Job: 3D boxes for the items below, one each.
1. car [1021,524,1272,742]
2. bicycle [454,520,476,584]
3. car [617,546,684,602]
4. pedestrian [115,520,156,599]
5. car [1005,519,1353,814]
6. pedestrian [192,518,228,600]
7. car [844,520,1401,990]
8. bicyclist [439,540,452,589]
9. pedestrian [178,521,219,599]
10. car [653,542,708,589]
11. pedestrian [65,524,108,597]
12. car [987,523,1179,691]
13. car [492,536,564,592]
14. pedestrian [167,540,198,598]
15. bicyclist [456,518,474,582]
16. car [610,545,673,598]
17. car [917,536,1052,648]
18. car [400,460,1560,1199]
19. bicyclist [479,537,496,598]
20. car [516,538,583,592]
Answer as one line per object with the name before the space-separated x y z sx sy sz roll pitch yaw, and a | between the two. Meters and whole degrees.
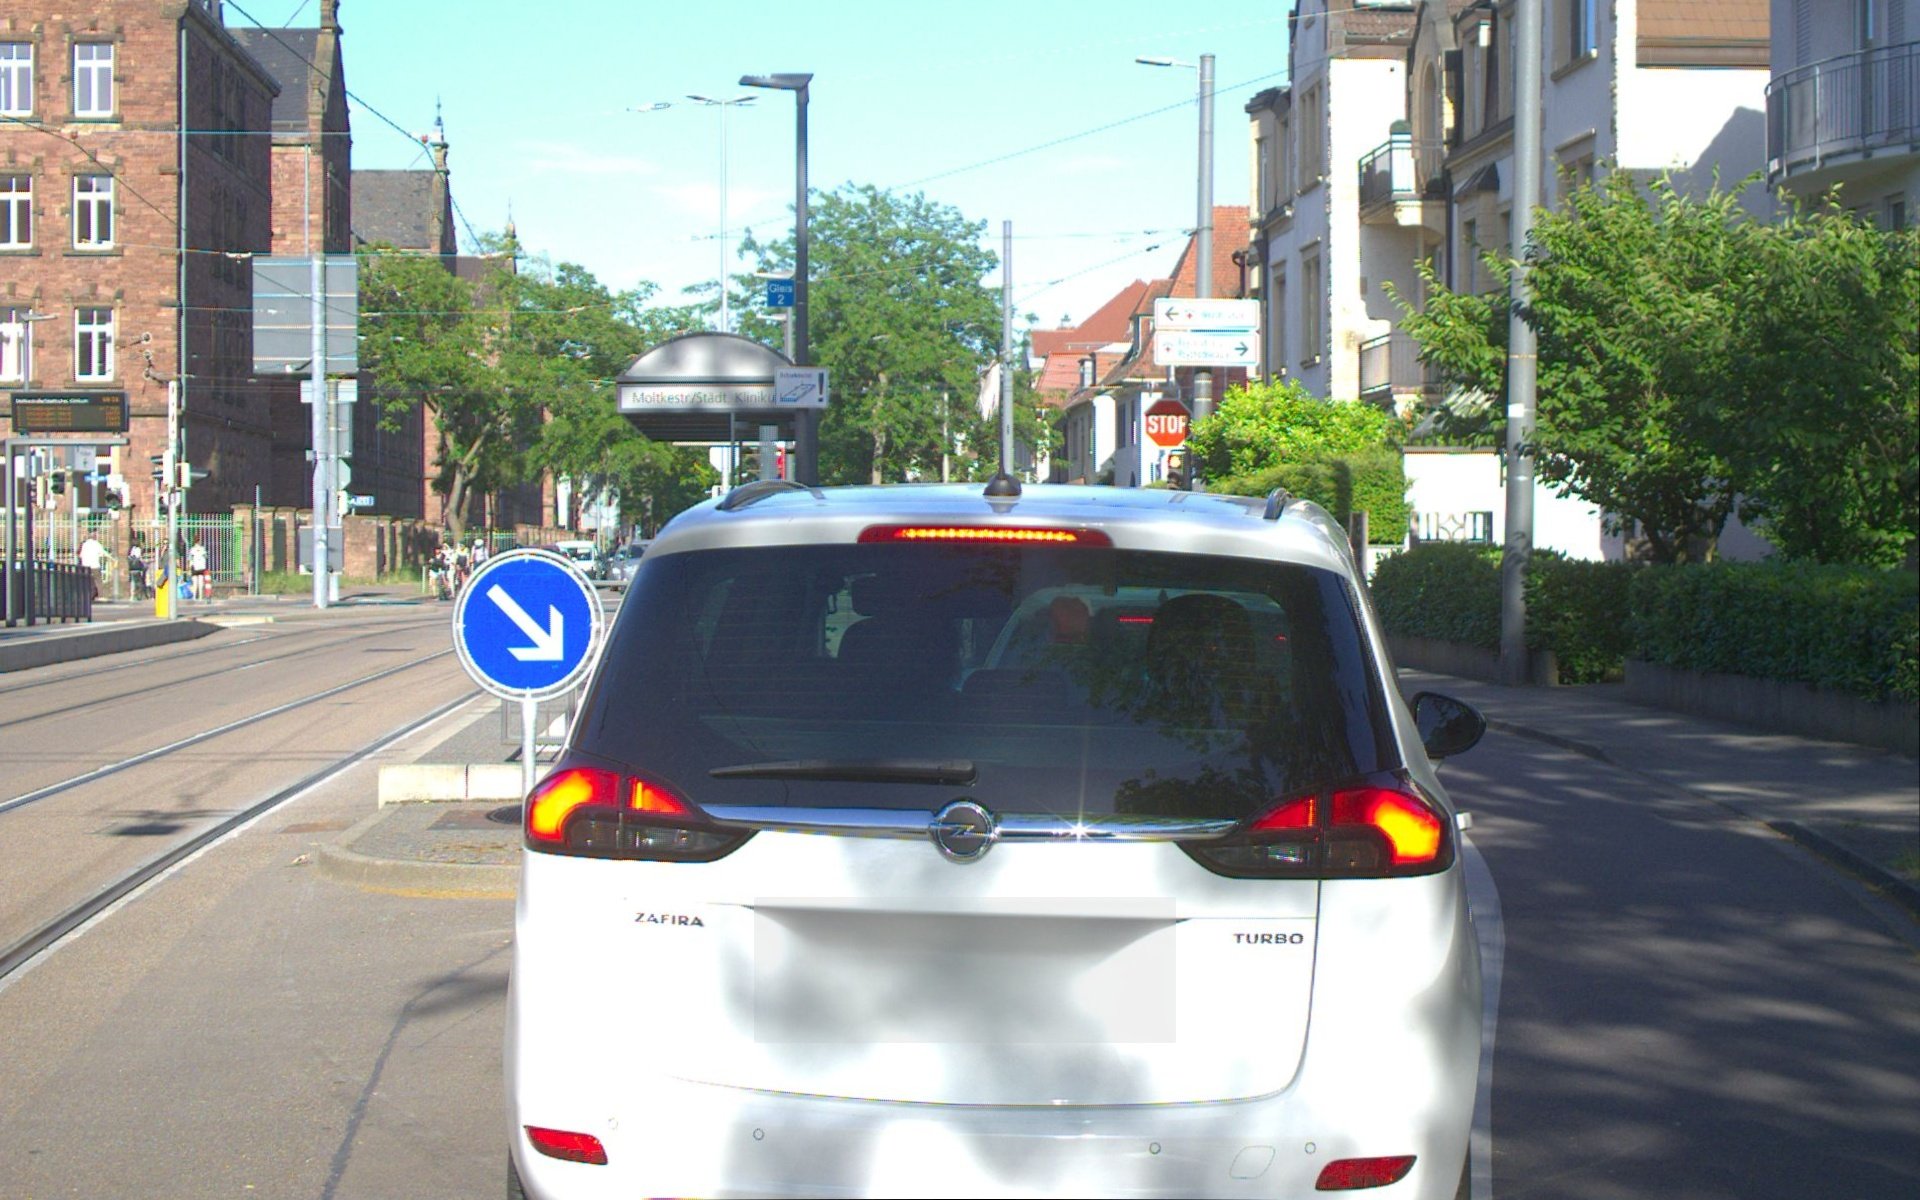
car | 1.567 0.215 28.274 1.907 1.656 4.000 0 1 4
bicycle | -15.693 -1.526 108.970 0.487 2.007 1.405 0 1 0
car | -9.636 -0.821 107.361 1.746 1.710 4.000 1 1 -1
pedestrian | -21.196 -1.045 88.346 0.795 2.007 0.720 1 0 -34
car | 1.431 0.328 20.996 1.907 1.619 3.999 0 1 7
pedestrian | -18.529 -1.001 84.969 0.794 2.007 0.721 1 0 -17
car | 0.782 0.490 13.774 1.907 1.592 3.999 0 1 7
bicyclist | -15.423 -1.066 103.043 0.313 1.439 0.384 0 1 -1
pedestrian | -19.709 -1.030 88.969 0.795 2.007 0.720 1 0 -37
car | -10.485 -1.297 129.070 1.746 1.710 4.000 1 1 -1
pedestrian | -22.620 -1.021 89.020 0.808 1.894 0.743 1 0 14
car | 1.244 0.034 36.111 1.907 1.656 4.000 0 1 1
car | -13.424 -1.121 107.044 1.746 1.710 4.000 1 1 -1
pedestrian | -21.571 -0.863 95.363 0.654 1.606 0.711 1 0 2
bicyclist | -15.696 -1.584 108.983 0.498 2.007 0.572 0 1 -1
car | -10.648 -0.950 115.218 1.746 1.710 4.000 1 1 -1
car | 0.340 -0.151 53.089 1.907 1.656 4.001 0 1 -2
car | 0.187 0.563 7.639 1.907 1.656 3.999 0 1 5
bicyclist | -15.386 -1.058 111.927 0.488 2.007 0.502 1 0 -1
car | -13.550 -1.156 113.712 1.746 1.710 4.000 1 1 -1
